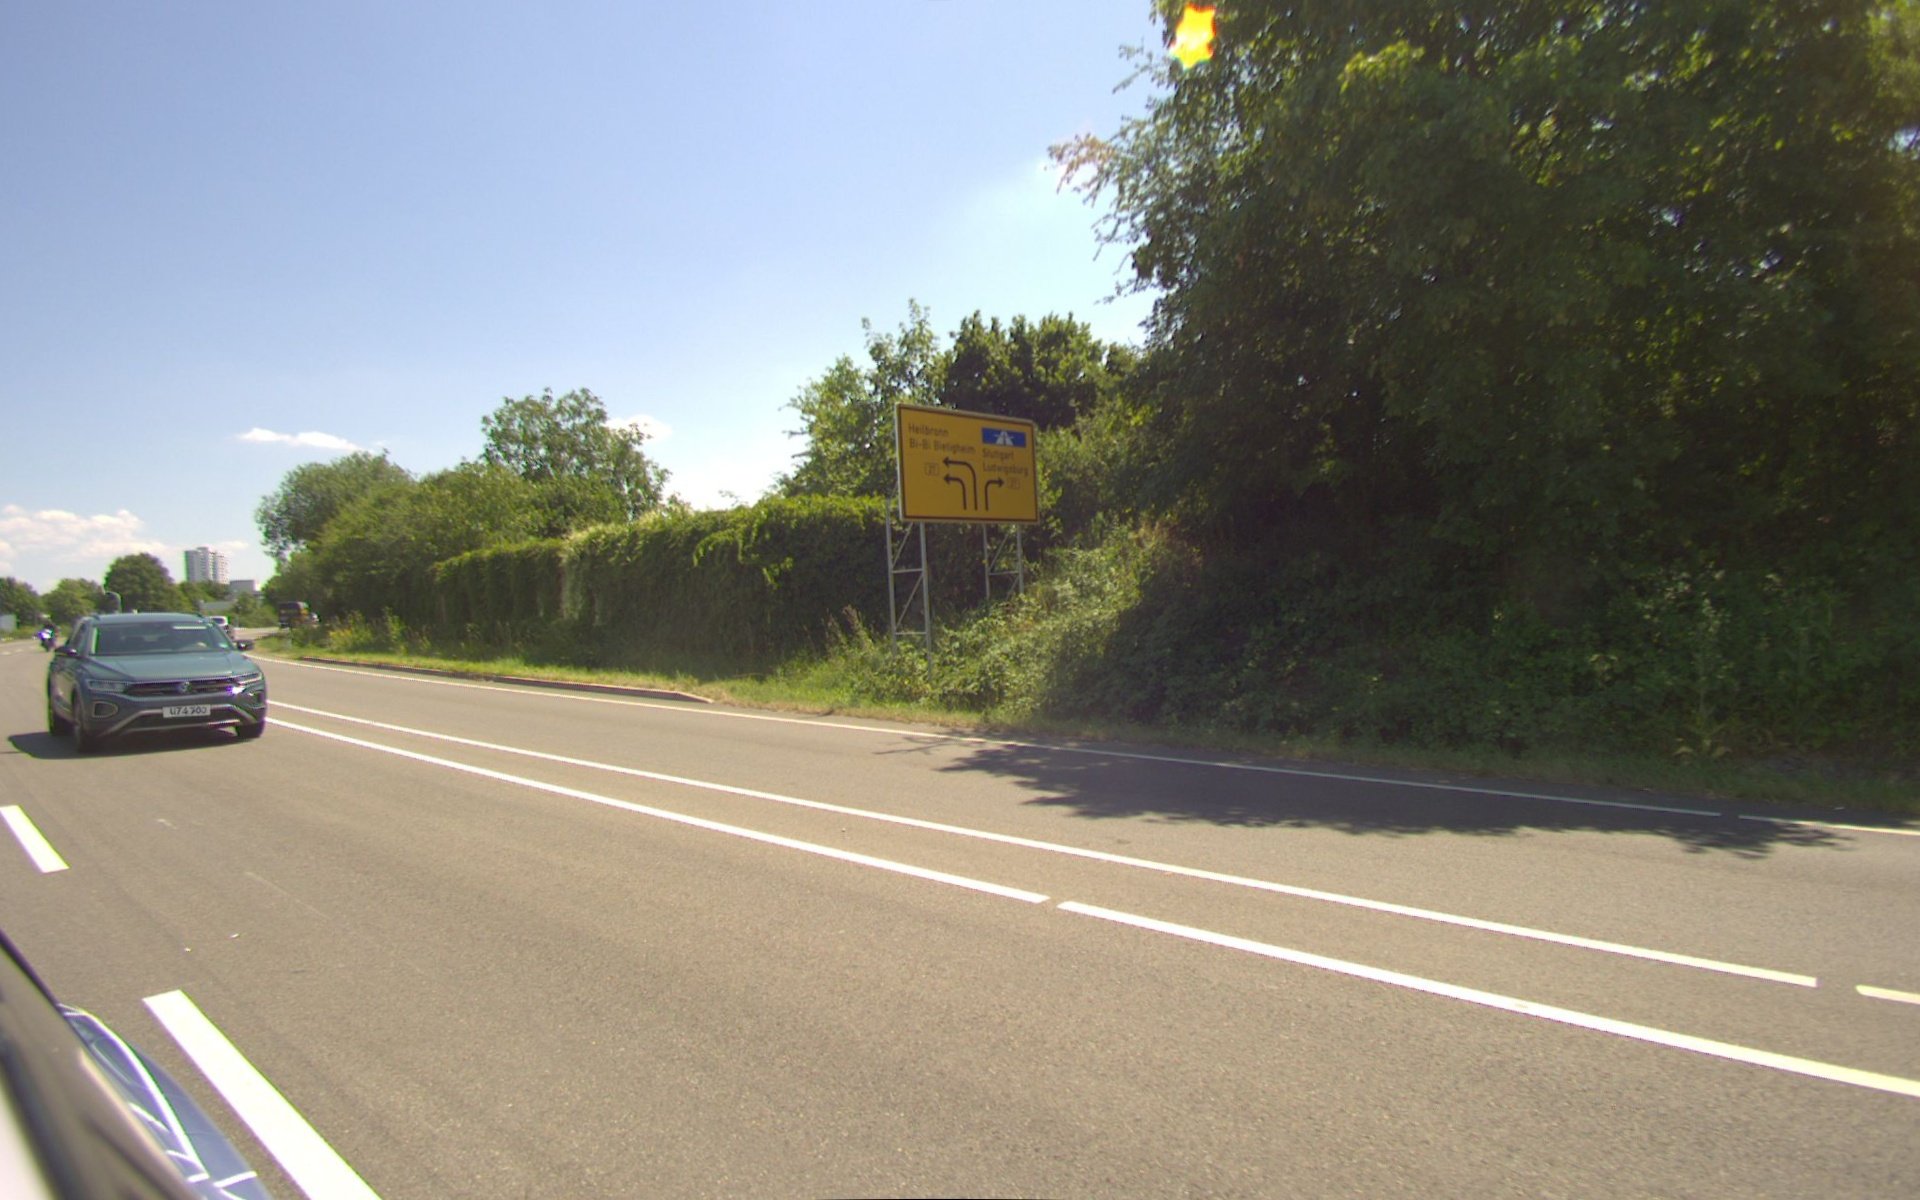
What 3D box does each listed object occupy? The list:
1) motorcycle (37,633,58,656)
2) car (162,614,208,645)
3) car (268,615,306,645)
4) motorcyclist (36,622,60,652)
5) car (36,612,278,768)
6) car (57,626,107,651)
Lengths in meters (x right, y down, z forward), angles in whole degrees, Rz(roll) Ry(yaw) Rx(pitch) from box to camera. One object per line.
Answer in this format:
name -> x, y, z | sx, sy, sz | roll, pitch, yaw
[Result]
motorcycle -> -45.764, 2.227, 50.758 | 0.723, 1.147, 2.075 | 1, -2, -41
car -> -43.044, 1.624, 56.208 | 1.968, 1.641, 4.205 | -1, -1, -38
car -> -63.306, 2.770, 95.244 | 2.157, 2.560, 6.056 | -2, 0, -26
motorcyclist -> -45.768, 1.847, 50.790 | 0.848, 1.500, 1.163 | 0, -2, -41
car -> -10.273, 1.001, 12.816 | 4.392, 1.598, 1.814 | -2, 0, 44
car -> -63.192, 2.749, 72.901 | 2.083, 1.603, 4.463 | -1, 0, -32
